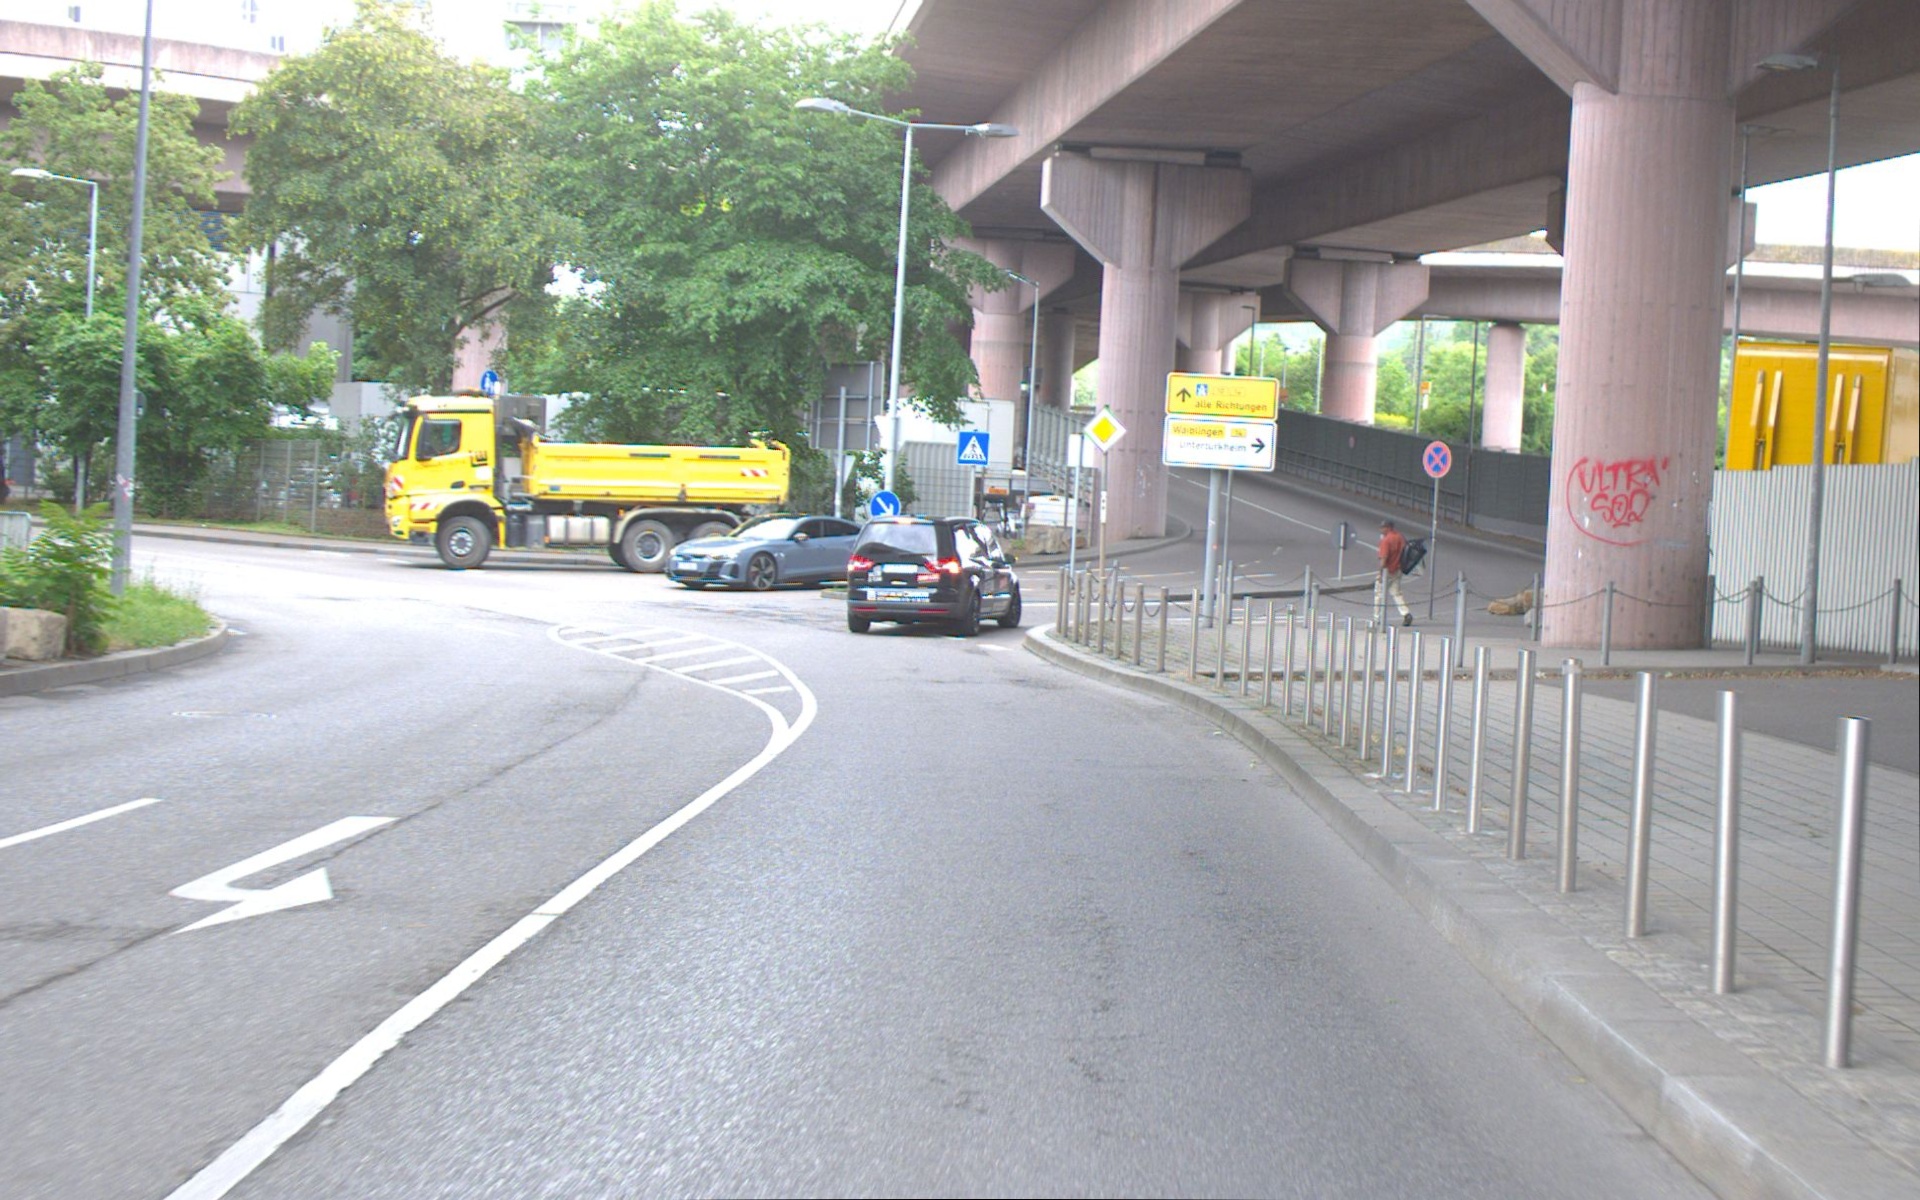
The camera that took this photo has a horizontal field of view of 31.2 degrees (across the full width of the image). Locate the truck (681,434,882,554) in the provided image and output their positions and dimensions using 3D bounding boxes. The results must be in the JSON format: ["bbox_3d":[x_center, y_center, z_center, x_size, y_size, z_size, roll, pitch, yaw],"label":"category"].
[{"bbox_3d":[-4.851,-2.877,91.930,2.914,2.888,6.560,1,3,-26],"label":"truck"}]

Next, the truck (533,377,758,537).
[{"bbox_3d":[-8.348,-3.822,90.205,3.065,3.854,8.051,1,3,-26],"label":"truck"}]

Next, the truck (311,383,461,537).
[{"bbox_3d":[-19.038,-4.703,113.603,3.202,4.763,8.052,1,3,-21],"label":"truck"}]

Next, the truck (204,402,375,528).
[{"bbox_3d":[-21.483,-4.367,109.771,3.055,3.606,7.918,1,4,-28],"label":"truck"}]

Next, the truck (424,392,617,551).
[{"bbox_3d":[-11.662,-3.388,90.681,3.065,3.949,6.925,1,2,-24],"label":"truck"}]

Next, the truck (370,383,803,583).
[{"bbox_3d":[-7.584,-2.372,69.513,8.215,3.468,2.938,2,5,-14],"label":"truck"}]

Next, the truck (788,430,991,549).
[{"bbox_3d":[-1.978,-3.036,93.442,2.914,2.888,6.560,1,3,-26],"label":"truck"}]

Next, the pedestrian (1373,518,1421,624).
[{"bbox_3d":[6.978,-0.462,54.938,0.536,1.670,0.558,1,2,-17],"label":"pedestrian"}]

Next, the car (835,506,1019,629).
[{"bbox_3d":[-0.424,-0.497,50.376,1.994,1.673,4.559,2,1,8],"label":"car"}]

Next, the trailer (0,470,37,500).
[{"bbox_3d":[-28.541,-3.308,96.603,2.150,0.740,6.291,-4,6,-45],"label":"trailer"}]

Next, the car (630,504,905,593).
[{"bbox_3d":[-3.526,-0.940,63.833,2.172,1.496,4.919,3,2,43],"label":"car"}]

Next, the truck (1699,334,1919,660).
[{"bbox_3d":[15.558,-1.565,56.258,3.145,4.900,8.698,4,1,37],"label":"truck"}]

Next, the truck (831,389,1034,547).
[{"bbox_3d":[-0.904,-3.927,100.651,3.065,4.284,8.052,1,3,-22],"label":"truck"}]

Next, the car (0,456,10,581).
[{"bbox_3d":[-12.298,-0.882,35.302,4.382,1.600,1.954,5,2,8],"label":"car"}]
